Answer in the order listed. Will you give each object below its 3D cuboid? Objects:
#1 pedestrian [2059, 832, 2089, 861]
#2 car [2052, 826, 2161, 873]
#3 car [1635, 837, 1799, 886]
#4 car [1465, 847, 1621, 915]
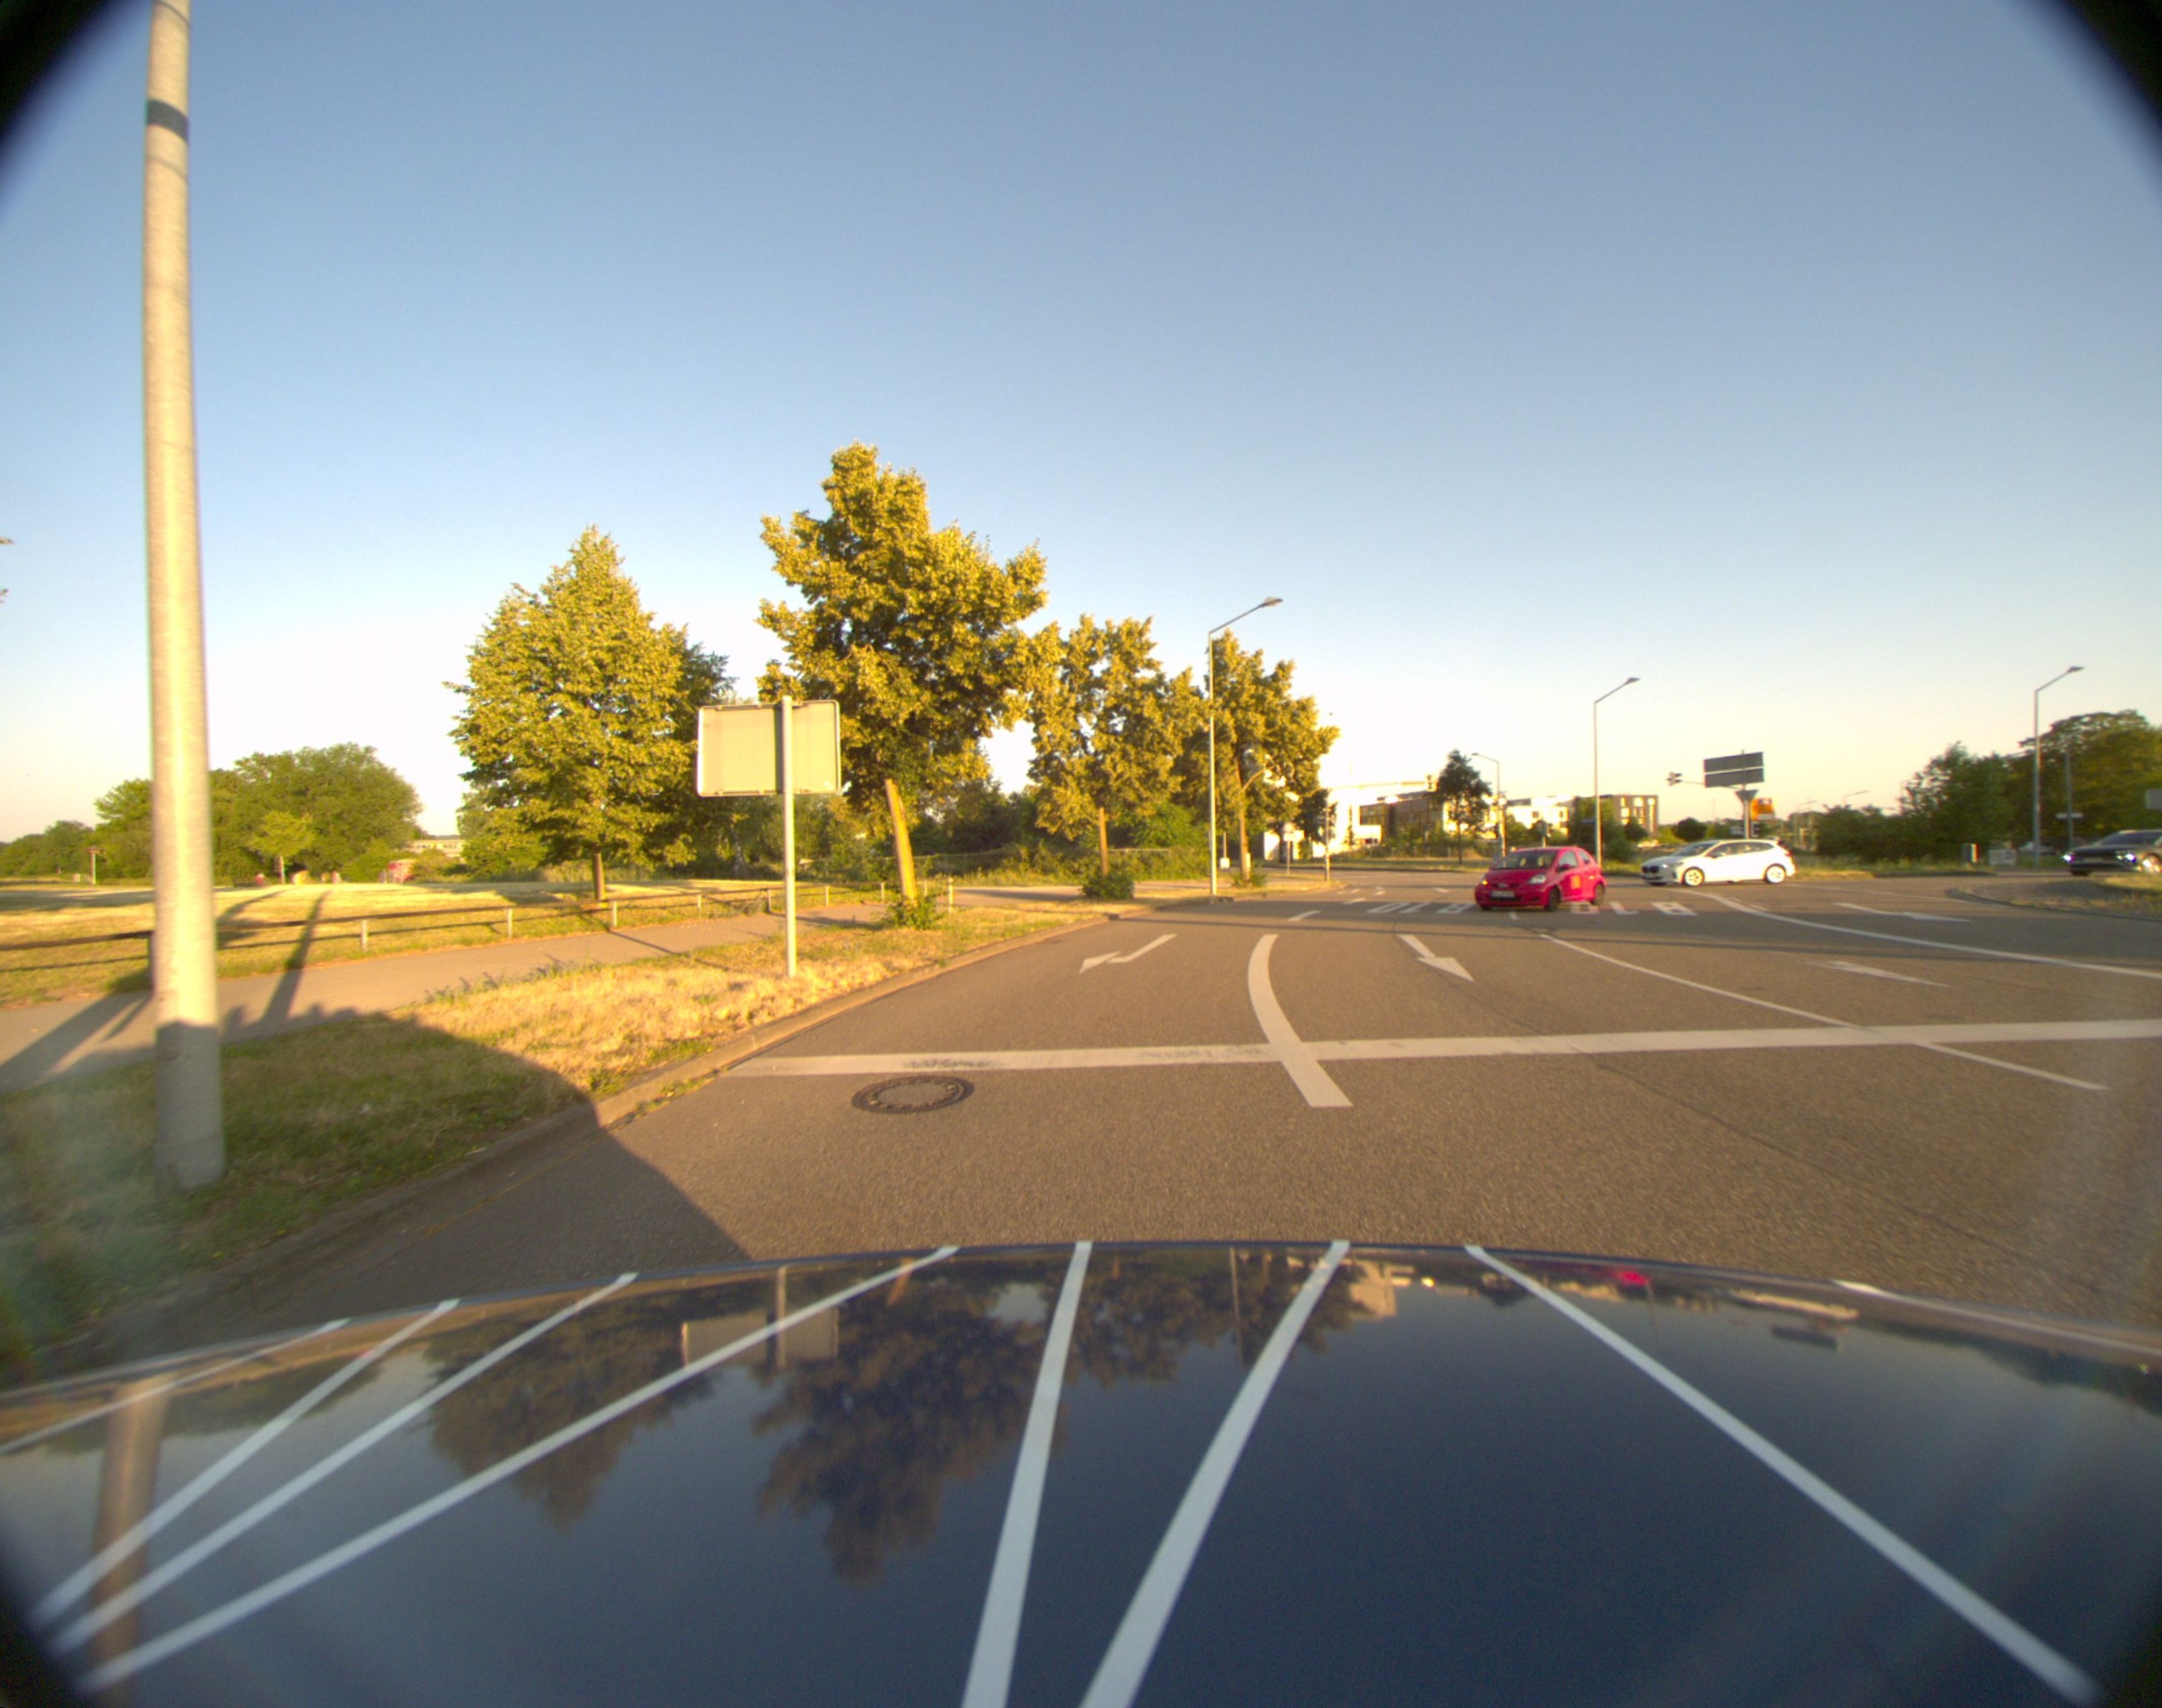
[{"bbox_3d":[58.298,-0.447,44.633,0.888,1.691,0.722,-1,0,35],"label":"pedestrian"},{"bbox_3d":[37.055,-0.174,26.355,4.210,1.549,1.829,-1,0,3],"label":"car"},{"bbox_3d":[22.010,0.257,26.390,4.211,1.549,1.760,-1,0,0],"label":"car"},{"bbox_3d":[11.002,0.571,18.000,4.219,1.413,1.690,-1,0,-37],"label":"car"}]
